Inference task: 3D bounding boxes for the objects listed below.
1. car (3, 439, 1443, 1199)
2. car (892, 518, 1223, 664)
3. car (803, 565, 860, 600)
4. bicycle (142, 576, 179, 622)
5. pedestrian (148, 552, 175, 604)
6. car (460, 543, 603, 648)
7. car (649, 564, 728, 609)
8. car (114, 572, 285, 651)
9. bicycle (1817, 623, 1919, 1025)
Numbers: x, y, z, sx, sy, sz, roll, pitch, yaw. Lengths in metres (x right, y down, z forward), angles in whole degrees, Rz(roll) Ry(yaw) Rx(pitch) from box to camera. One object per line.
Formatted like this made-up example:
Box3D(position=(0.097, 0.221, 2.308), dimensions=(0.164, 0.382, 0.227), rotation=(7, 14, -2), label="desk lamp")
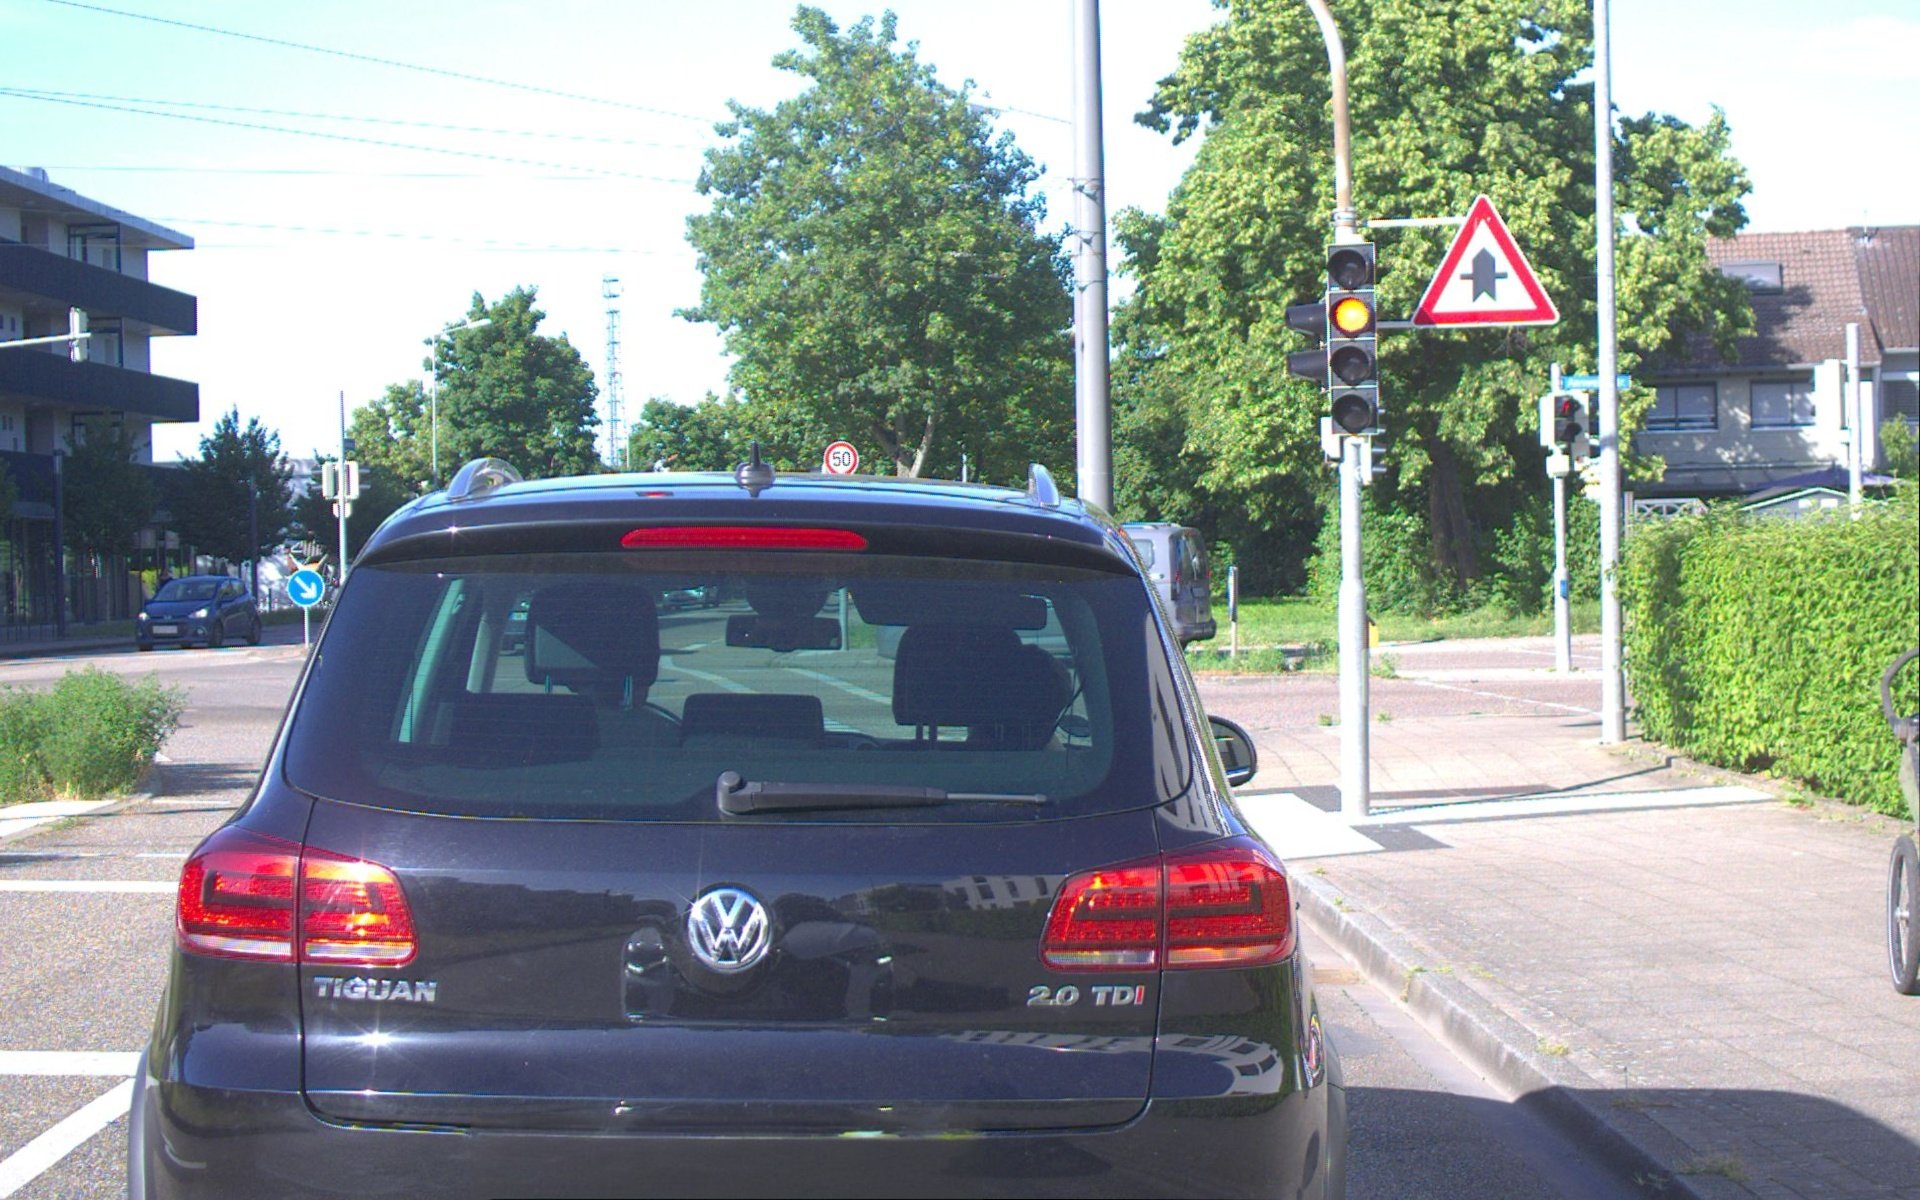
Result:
Box3D(position=(-0.336, 0.598, 6.497), dimensions=(1.869, 1.632, 4.000), rotation=(1, 1, -1), label="car")
Box3D(position=(1.311, -0.137, 45.511), dimensions=(3.990, 1.830, 1.998), rotation=(1, 1, 16), label="car")
Box3D(position=(-6.016, -0.839, 161.788), dimensions=(1.994, 1.569, 4.338), rotation=(1, 1, 7), label="car")
Box3D(position=(-23.615, -0.023, 101.540), dimensions=(0.630, 1.327, 1.913), rotation=(1, 1, 0), label="bicycle")
Box3D(position=(-23.596, -0.647, 101.541), dimensions=(0.642, 1.504, 0.596), rotation=(1, 0, 0), label="pedestrian")
Box3D(position=(-7.189, -0.092, 58.003), dimensions=(1.993, 1.678, 4.000), rotation=(1, 1, -1), label="car")
Box3D(position=(-9.784, -0.487, 124.305), dimensions=(1.994, 1.569, 4.338), rotation=(1, 1, 7), label="car")
Box3D(position=(-15.770, 0.213, 71.497), dimensions=(1.994, 1.569, 4.337), rotation=(1, 1, 9), label="car")
Box3D(position=(3.328, 0.674, 9.598), dimensions=(0.928, 1.169, 3.126), rotation=(-2, 1, -3), label="bicycle")
